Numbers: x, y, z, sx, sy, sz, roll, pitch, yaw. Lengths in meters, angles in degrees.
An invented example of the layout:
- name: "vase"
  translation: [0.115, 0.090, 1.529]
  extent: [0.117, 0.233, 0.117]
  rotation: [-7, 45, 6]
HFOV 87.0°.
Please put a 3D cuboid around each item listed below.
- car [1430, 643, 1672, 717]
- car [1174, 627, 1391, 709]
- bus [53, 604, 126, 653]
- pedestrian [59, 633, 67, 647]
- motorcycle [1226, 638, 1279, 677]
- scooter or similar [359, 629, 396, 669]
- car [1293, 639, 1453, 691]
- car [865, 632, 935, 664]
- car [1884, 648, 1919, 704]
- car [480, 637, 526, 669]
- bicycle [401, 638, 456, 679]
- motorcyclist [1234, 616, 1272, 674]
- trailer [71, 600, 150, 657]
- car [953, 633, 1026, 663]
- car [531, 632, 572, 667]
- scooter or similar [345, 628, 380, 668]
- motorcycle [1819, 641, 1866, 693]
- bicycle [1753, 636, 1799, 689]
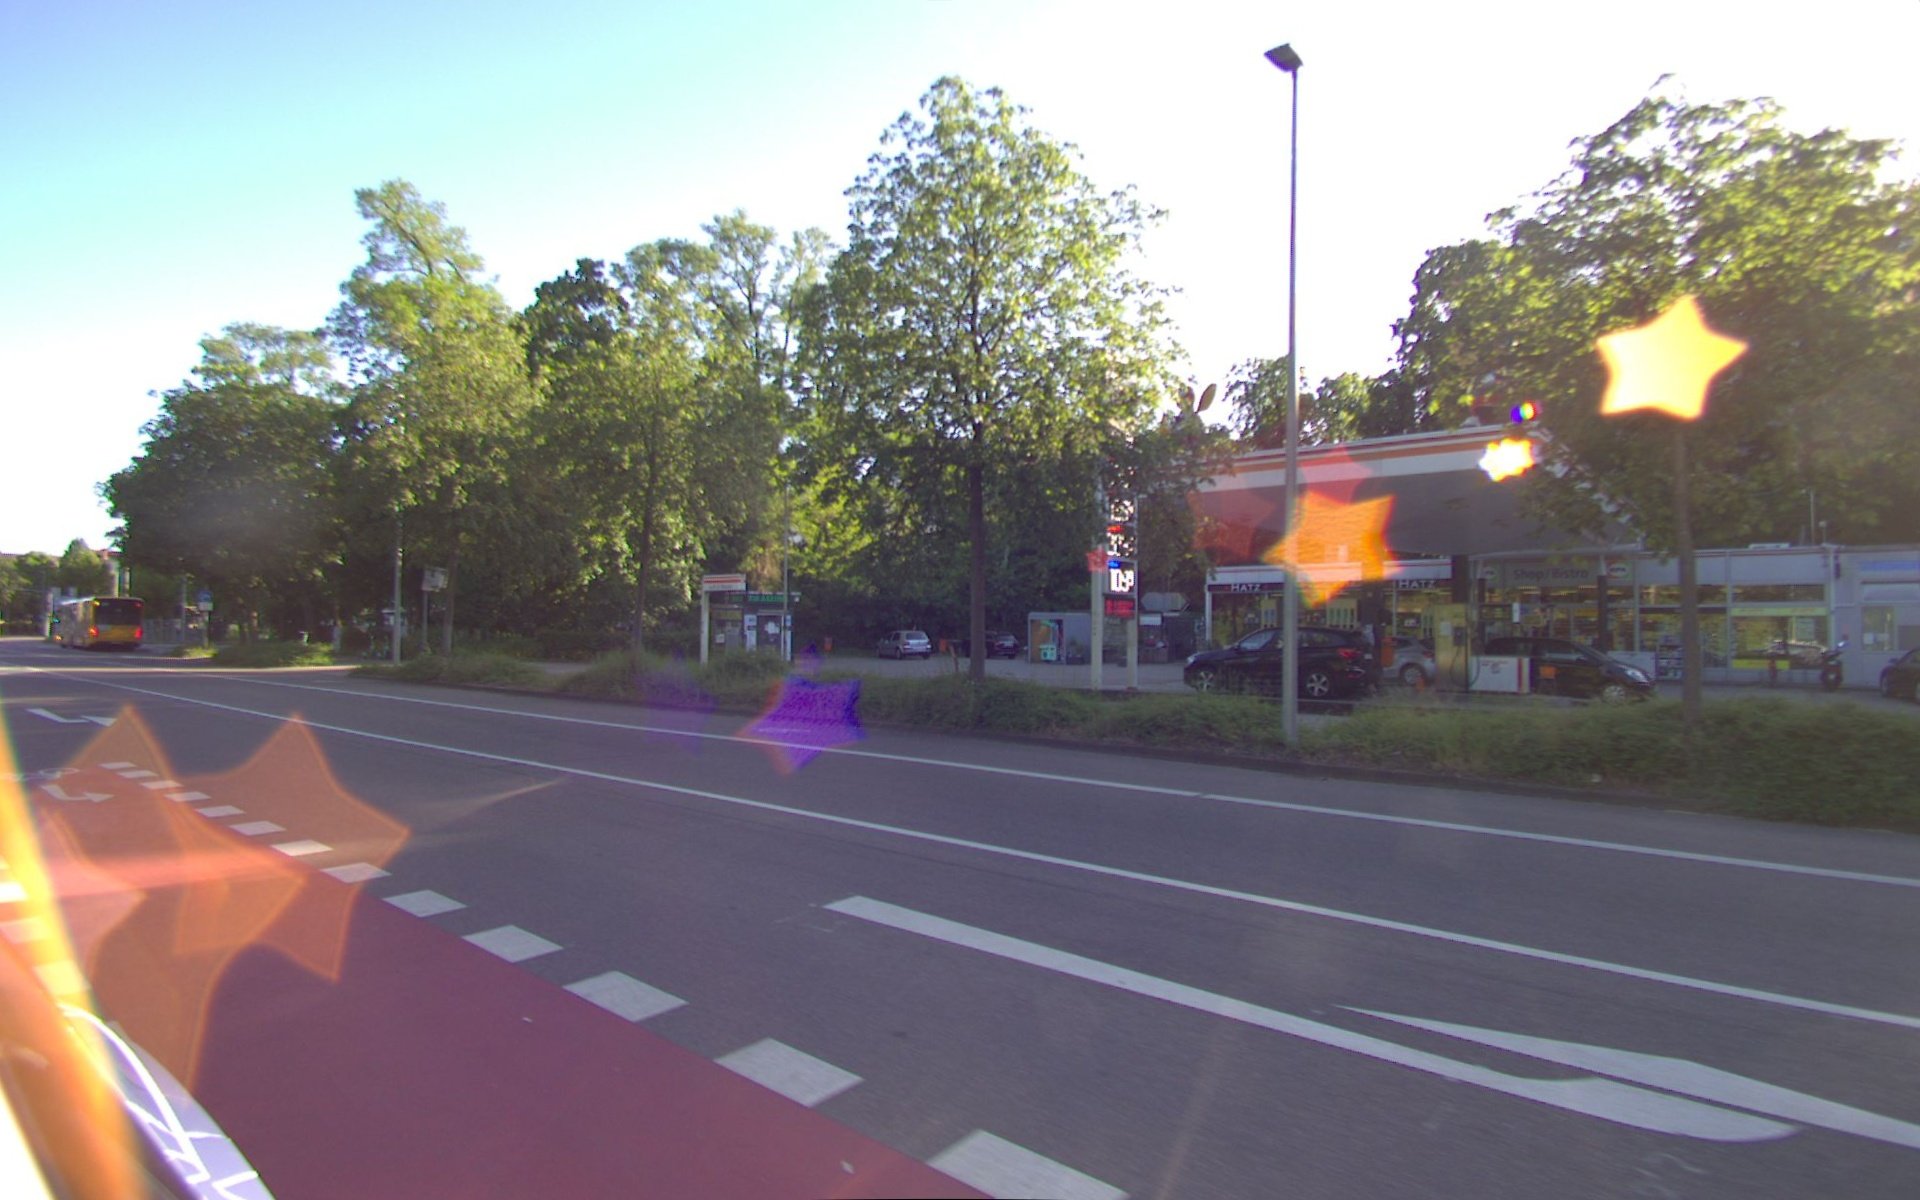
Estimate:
- name: "car"
  translation: [13.469, 1.759, 23.245]
  extent: [4.574, 1.509, 1.693]
  rotation: [-1, -3, 40]
- name: "car"
  translation: [7.319, 1.493, 23.209]
  extent: [4.446, 1.704, 1.695]
  rotation: [-1, -3, 37]
- name: "bus"
  translation: [-60.495, 1.978, 70.273]
  extent: [8.599, 3.221, 2.809]
  rotation: [-2, -3, 43]
- name: "pedestrian"
  translation: [-109.940, 4.859, 124.059]
  extent: [0.681, 1.694, 0.681]
  rotation: [2, -3, -40]
- name: "motorcycle"
  translation: [11.278, 2.199, 39.158]
  extent: [1.117, 1.462, 2.509]
  rotation: [1, -2, -5]
- name: "scooter or similar"
  translation: [-25.242, 2.110, 43.841]
  extent: [1.740, 1.730, 0.819]
  rotation: [-2, -3, 42]
- name: "car"
  translation: [12.124, 1.874, 29.824]
  extent: [4.056, 1.386, 1.693]
  rotation: [-1, -3, 40]
- name: "car"
  translation: [-3.107, 2.423, 51.792]
  extent: [1.966, 1.548, 4.033]
  rotation: [2, -2, -30]
- name: "car"
  translation: [24.110, 1.849, 24.403]
  extent: [1.707, 1.364, 3.601]
  rotation: [-1, -3, 26]
- name: "car"
  translation: [-21.761, 2.494, 48.309]
  extent: [1.536, 1.411, 3.501]
  rotation: [3, -3, -17]
- name: "bicycle"
  translation: [-16.964, 1.861, 32.310]
  extent: [2.155, 1.259, 0.648]
  rotation: [-1, -3, 36]
- name: "motorcyclist"
  translation: [11.296, 1.748, 39.056]
  extent: [1.107, 2.199, 1.017]
  rotation: [1, -2, -5]
- name: "trailer"
  translation: [-53.954, 1.769, 64.147]
  extent: [9.363, 3.381, 2.823]
  rotation: [-1, -1, 44]
- name: "car"
  translation: [1.542, 2.561, 54.401]
  extent: [1.967, 1.548, 3.922]
  rotation: [2, -3, -36]
- name: "car"
  translation: [-20.005, 2.404, 49.646]
  extent: [1.536, 1.663, 3.501]
  rotation: [1, -2, -17]
- name: "scooter or similar"
  translation: [-26.659, 2.138, 45.172]
  extent: [1.740, 1.730, 0.819]
  rotation: [-2, -3, 42]
- name: "motorcycle"
  translation: [24.307, 1.823, 27.871]
  extent: [0.927, 1.374, 1.817]
  rotation: [-2, -3, 41]
- name: "bicycle"
  translation: [23.761, 1.798, 29.462]
  extent: [0.927, 1.488, 1.817]
  rotation: [-2, -3, 41]
